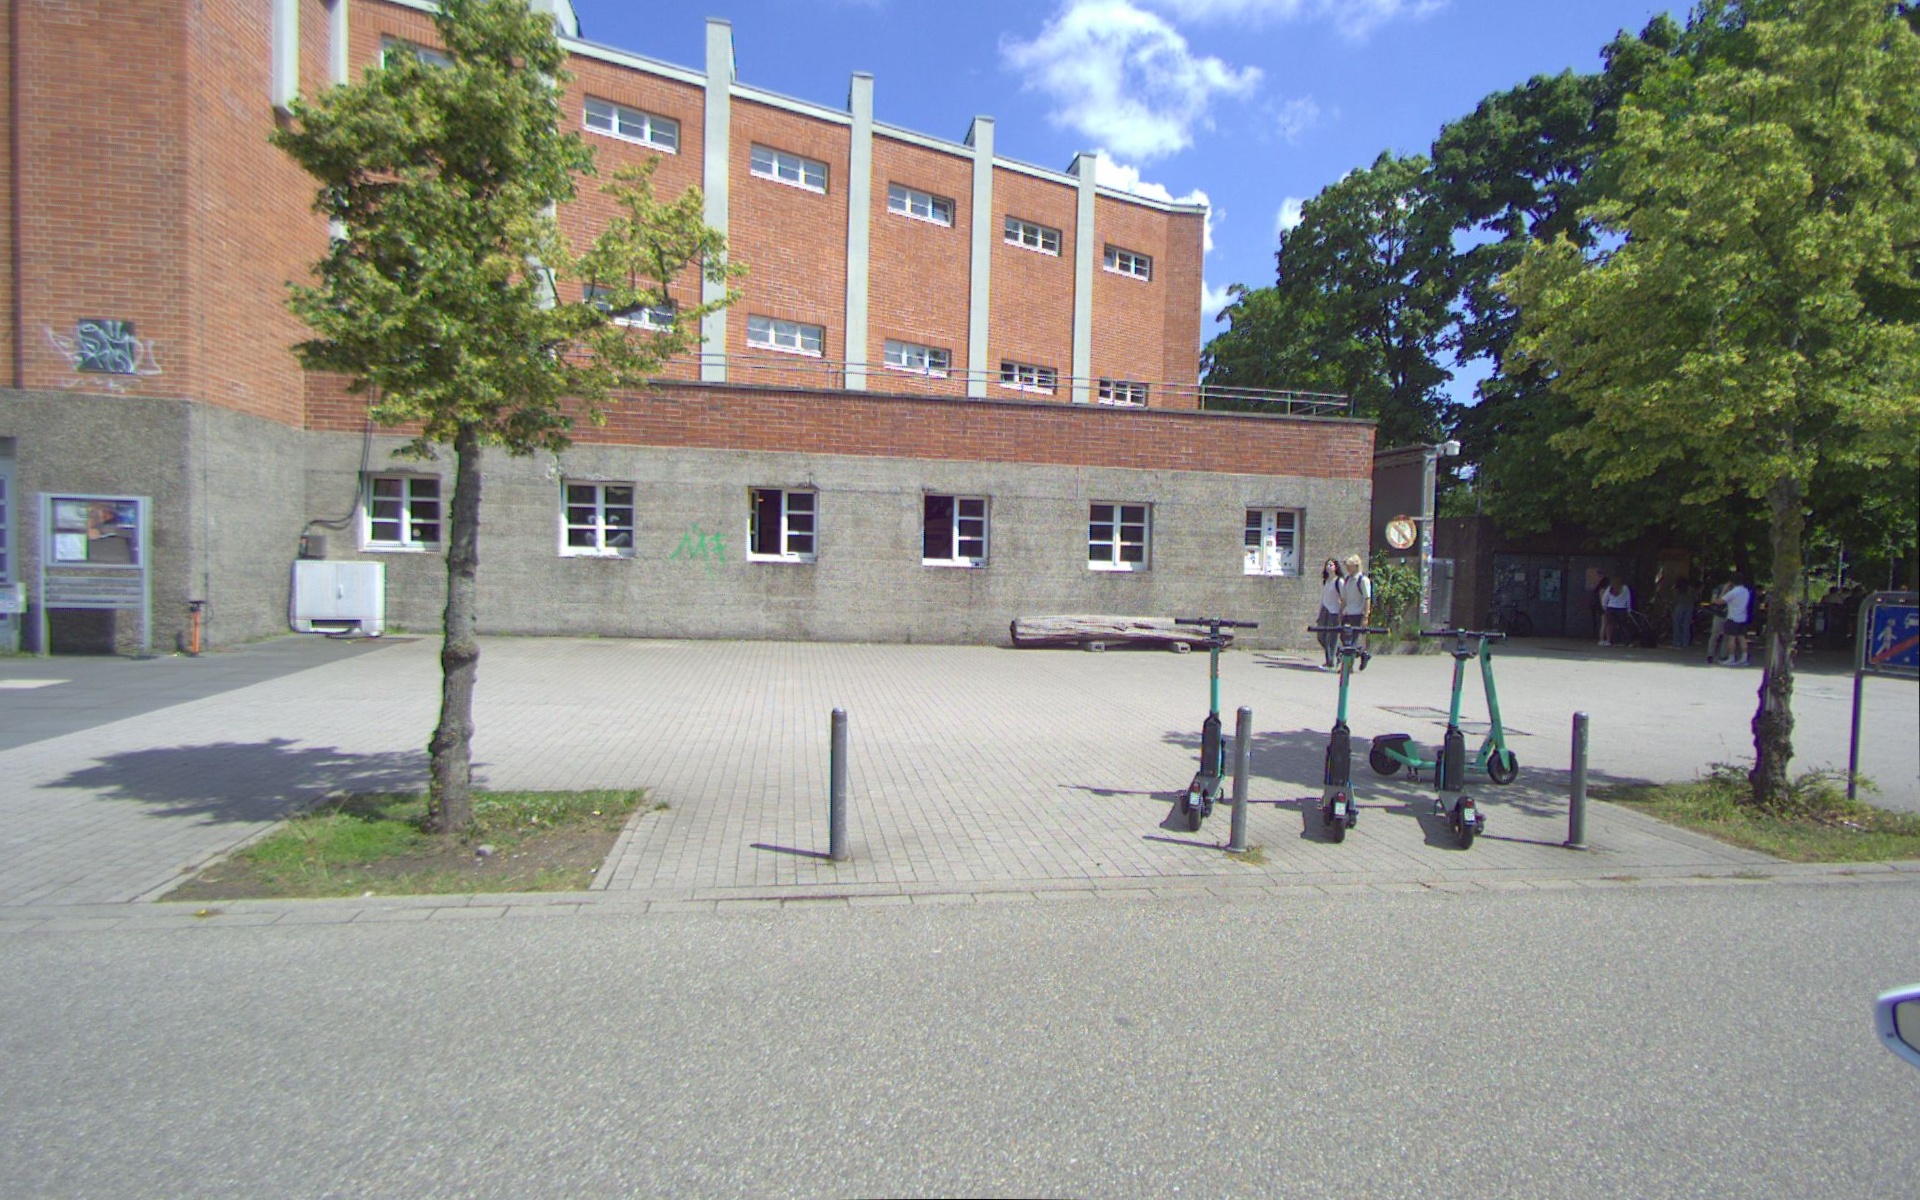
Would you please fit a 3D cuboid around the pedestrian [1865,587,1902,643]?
[{"bbox_3d":[23.774,0.380,25.860,0.737,1.388,0.587,-3,5,-44],"label":"pedestrian"}]

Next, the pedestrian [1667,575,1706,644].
[{"bbox_3d":[18.157,0.225,25.118,0.669,1.673,0.500,4,5,41],"label":"pedestrian"}]

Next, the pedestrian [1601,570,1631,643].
[{"bbox_3d":[15.911,0.151,24.361,0.522,1.734,0.446,4,5,36],"label":"pedestrian"}]

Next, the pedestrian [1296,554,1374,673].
[{"bbox_3d":[5.830,0.199,15.638,0.901,1.803,0.576,1,2,-11],"label":"pedestrian"}]

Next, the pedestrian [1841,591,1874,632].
[{"bbox_3d":[27.304,0.348,30.552,0.719,1.210,0.390,0,3,-19],"label":"pedestrian"}]

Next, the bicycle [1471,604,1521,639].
[{"bbox_3d":[14.240,0.566,26.690,1.209,0.895,0.304,1,2,-9],"label":"bicycle"}]

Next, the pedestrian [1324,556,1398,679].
[{"bbox_3d":[5.988,0.257,15.032,0.791,1.786,0.564,1,2,-11],"label":"pedestrian"}]

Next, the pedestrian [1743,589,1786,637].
[{"bbox_3d":[22.391,0.355,27.963,0.680,1.288,0.561,1,3,-9],"label":"pedestrian"}]

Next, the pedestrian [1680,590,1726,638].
[{"bbox_3d":[21.282,0.406,28.792,0.764,1.341,0.689,1,2,-8],"label":"pedestrian"}]

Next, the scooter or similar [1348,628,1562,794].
[{"bbox_3d":[3.779,0.834,7.742,1.323,1.164,0.565,2,2,2],"label":"scooter or similar"}]

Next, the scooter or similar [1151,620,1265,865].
[{"bbox_3d":[1.583,0.786,6.250,0.559,1.241,1.575,2,2,17],"label":"scooter or similar"}]

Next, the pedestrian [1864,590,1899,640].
[{"bbox_3d":[24.259,0.389,26.449,0.737,1.250,0.587,-3,5,-44],"label":"pedestrian"}]

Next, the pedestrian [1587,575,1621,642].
[{"bbox_3d":[15.979,0.194,24.931,0.596,1.615,0.411,4,5,39],"label":"pedestrian"}]

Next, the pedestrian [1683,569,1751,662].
[{"bbox_3d":[14.803,0.302,19.658,0.863,1.743,0.489,4,1,18],"label":"pedestrian"}]

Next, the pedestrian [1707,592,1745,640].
[{"bbox_3d":[22.221,0.457,29.138,0.549,1.341,0.646,1,2,-8],"label":"pedestrian"}]

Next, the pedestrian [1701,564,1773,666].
[{"bbox_3d":[14.583,0.280,18.874,0.863,1.844,0.449,4,1,18],"label":"pedestrian"}]

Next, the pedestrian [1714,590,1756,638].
[{"bbox_3d":[21.448,0.372,27.805,0.680,1.288,0.561,1,3,-9],"label":"pedestrian"}]

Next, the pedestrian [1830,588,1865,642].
[{"bbox_3d":[23.563,0.388,26.662,0.699,1.388,0.587,-3,5,-44],"label":"pedestrian"}]

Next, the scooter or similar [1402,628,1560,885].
[{"bbox_3d":[3.053,0.834,6.015,0.514,1.241,1.575,2,2,17],"label":"scooter or similar"}]

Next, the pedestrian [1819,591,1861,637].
[{"bbox_3d":[25.333,0.400,28.922,0.756,1.267,0.567,0,3,-22],"label":"pedestrian"}]

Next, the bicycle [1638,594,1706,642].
[{"bbox_3d":[17.845,0.445,25.193,1.328,1.091,0.415,4,2,37],"label":"bicycle"}]

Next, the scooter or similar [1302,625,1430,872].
[{"bbox_3d":[2.457,0.819,6.219,0.553,1.241,1.575,2,2,17],"label":"scooter or similar"}]
